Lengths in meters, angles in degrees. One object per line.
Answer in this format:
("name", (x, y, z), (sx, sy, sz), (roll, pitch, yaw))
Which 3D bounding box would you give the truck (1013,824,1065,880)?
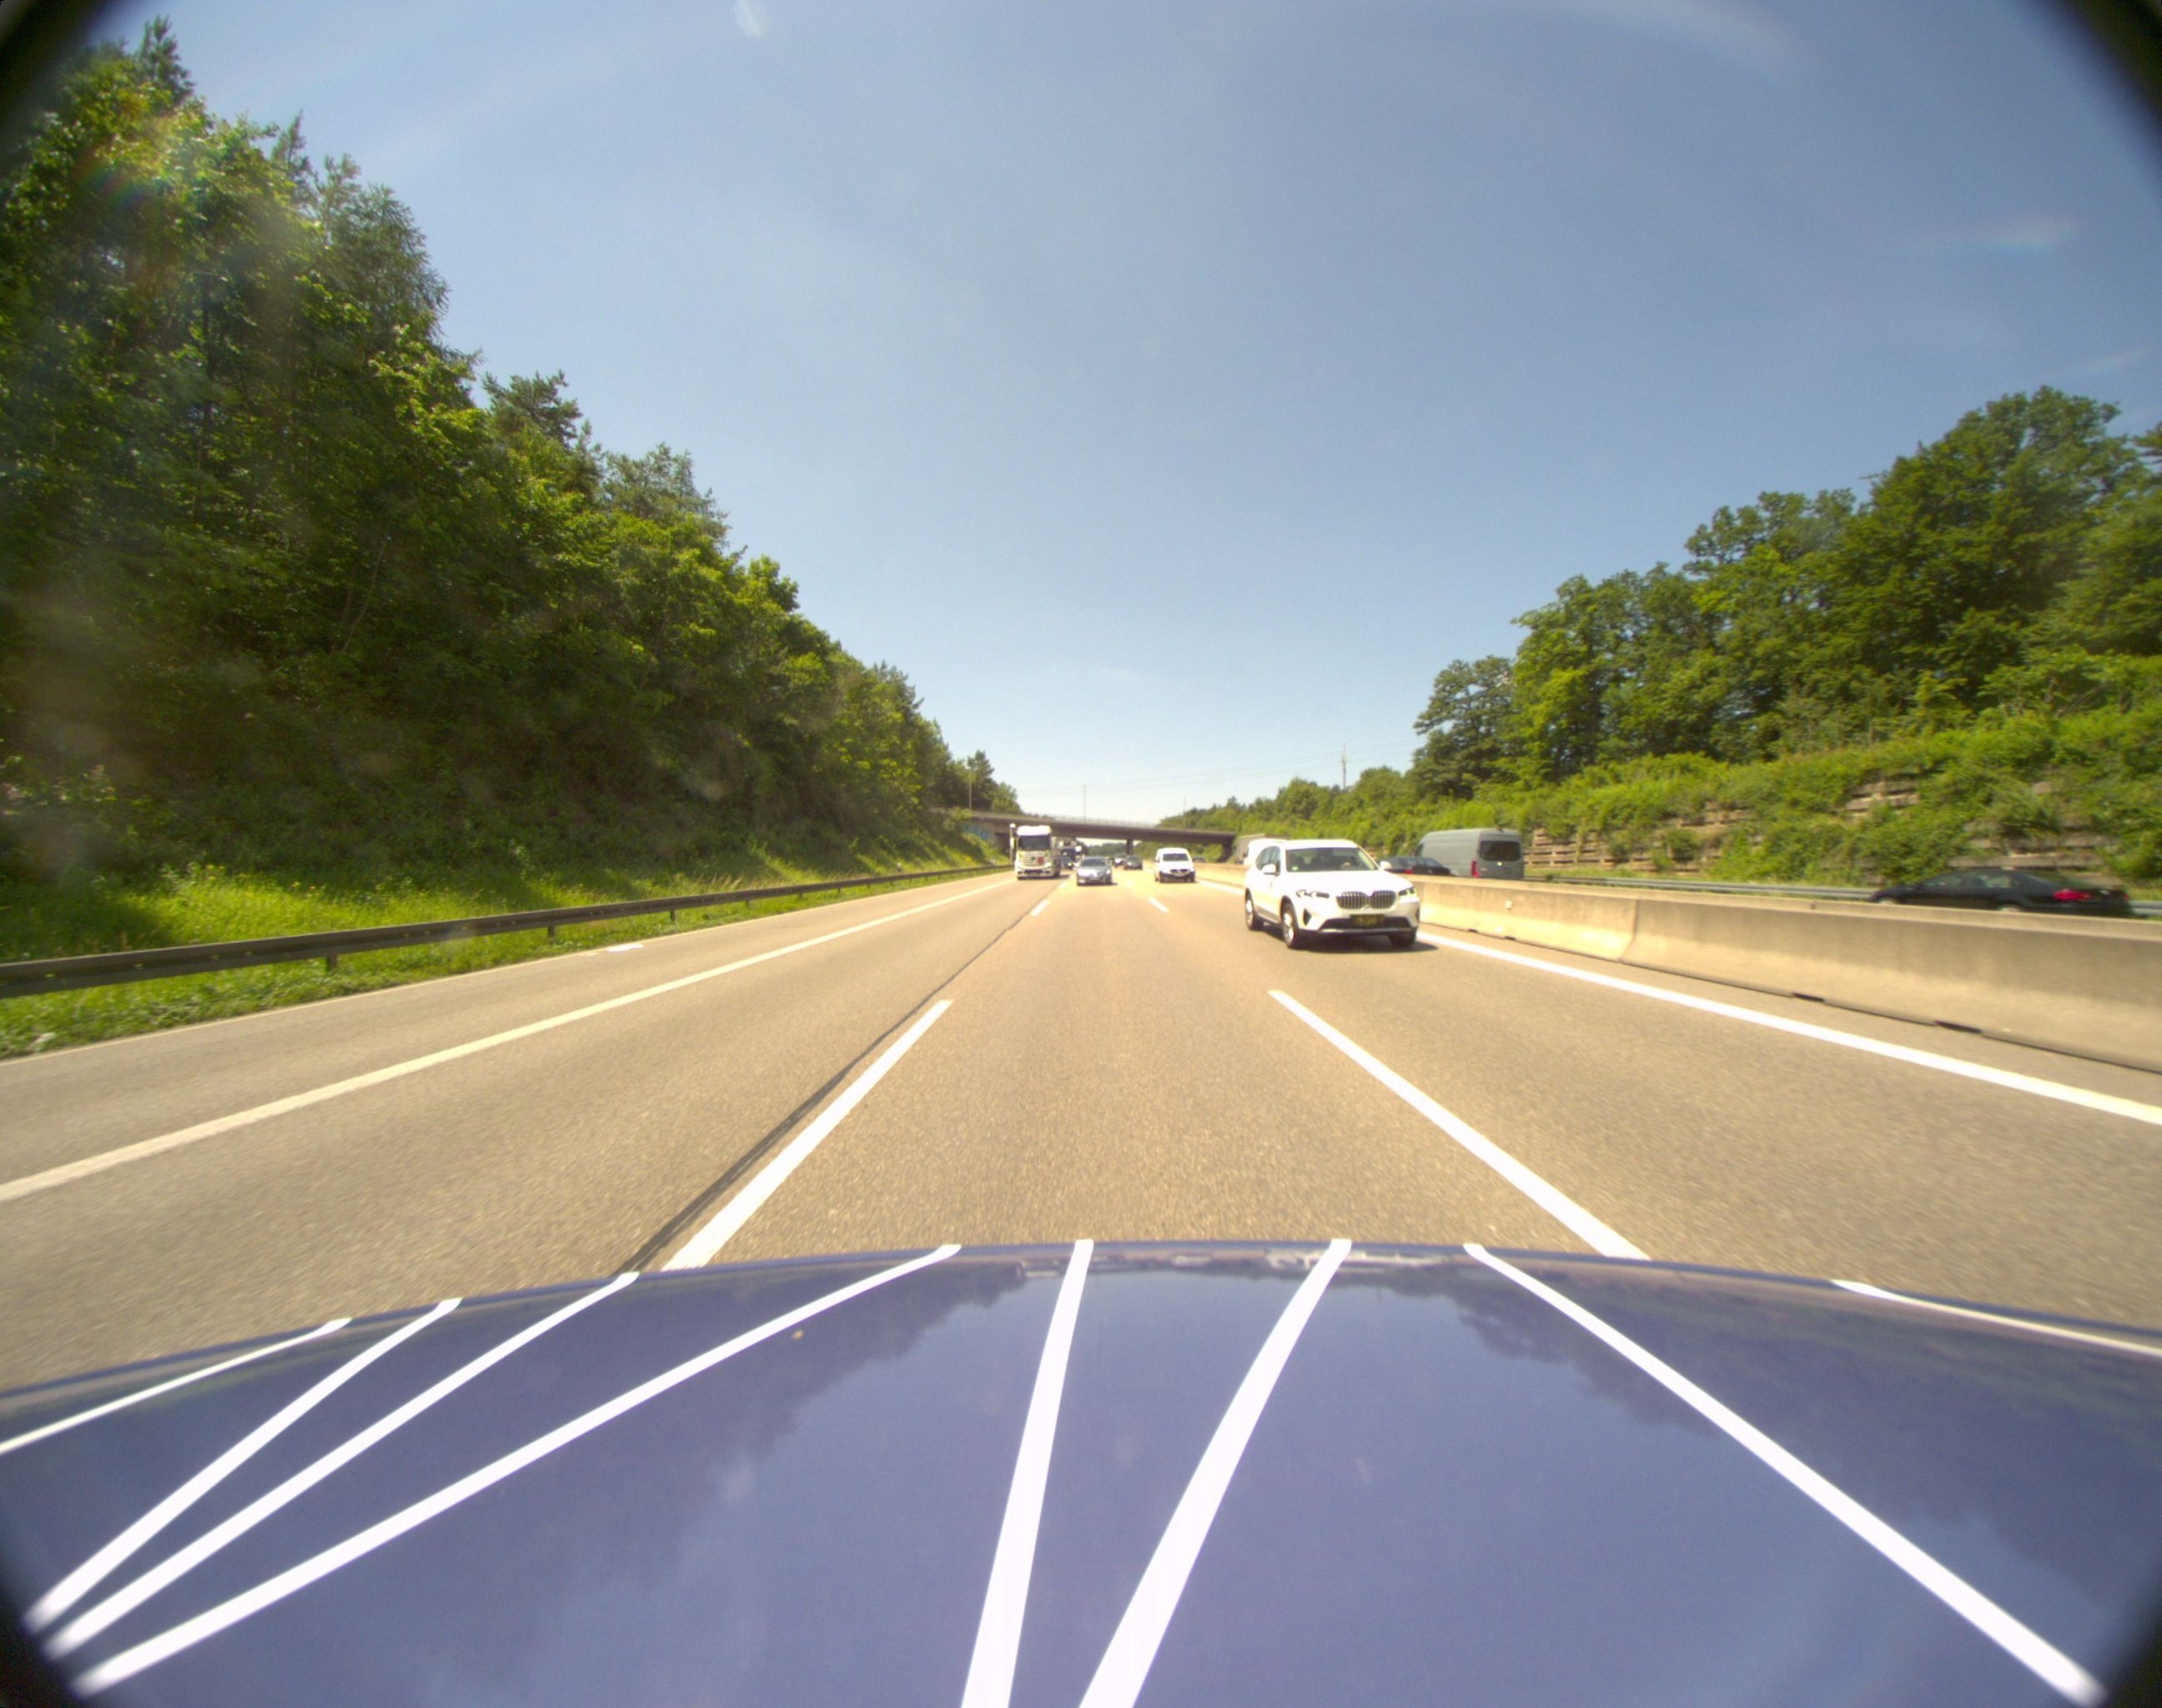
("truck", (-2.857, -0.228, 55.955), (2.844, 3.518, 13.085), (-2, 1, 1))

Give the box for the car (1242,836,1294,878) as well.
("car", (12.731, 0.188, 51.970), (2.245, 2.667, 5.341), (1, 0, 1))

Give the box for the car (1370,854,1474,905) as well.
("car", (11.837, 0.819, 26.676), (1.736, 1.595, 4.281), (1, 0, 1))

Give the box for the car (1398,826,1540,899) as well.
("car", (15.775, 0.280, 31.541), (2.245, 2.667, 7.137), (1, 0, 1))

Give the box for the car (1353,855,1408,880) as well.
("car", (19.598, 0.841, 49.901), (1.900, 1.529, 4.281), (1, 0, 1))

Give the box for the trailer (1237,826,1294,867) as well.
("trailer", (20.365, -0.848, 84.799), (2.942, 4.162, 14.183), (-2, 1, 1))

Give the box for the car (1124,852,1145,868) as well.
("car", (5.330, 0.563, 76.687), (1.770, 1.504, 4.725), (-2, 1, 1))

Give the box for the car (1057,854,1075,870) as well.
("car", (-1.556, 0.863, 81.900), (1.770, 1.504, 3.999), (-2, 1, 1))

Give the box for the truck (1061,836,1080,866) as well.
("truck", (-1.567, -0.540, 120.689), (2.627, 4.365, 13.085), (-2, 1, 1))

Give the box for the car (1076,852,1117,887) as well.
("car", (0.823, 0.725, 37.678), (1.843, 1.518, 4.501), (-2, 1, 2))

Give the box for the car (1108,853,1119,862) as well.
("car", (6.083, 0.626, 143.226), (1.770, 1.504, 3.999), (-2, 1, 1))

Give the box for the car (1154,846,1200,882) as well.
("car", (5.025, 0.477, 40.398), (1.998, 1.764, 4.501), (-2, 1, 2))

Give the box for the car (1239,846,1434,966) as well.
("car", (4.032, 0.720, 12.823), (1.850, 1.634, 4.368), (-1, 0, 1))

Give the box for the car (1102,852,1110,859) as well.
("car", (6.517, 0.337, 195.075), (1.944, 1.616, 4.281), (1, 0, 1))

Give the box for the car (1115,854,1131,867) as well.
("car", (5.270, 0.763, 94.992), (1.770, 1.504, 3.999), (-2, 1, 1))

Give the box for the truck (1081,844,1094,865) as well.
("truck", (1.406, 0.063, 172.312), (2.627, 4.365, 13.085), (-2, 1, 1))

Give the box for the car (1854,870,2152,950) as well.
("car", (22.397, 1.267, 18.814), (1.944, 1.595, 4.464), (1, 0, 1))

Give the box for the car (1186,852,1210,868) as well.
("car", (12.541, 0.642, 81.575), (1.944, 1.690, 4.281), (1, 0, 1))

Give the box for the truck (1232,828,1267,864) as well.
("truck", (20.441, -0.937, 92.466), (2.942, 4.162, 5.948), (-2, 1, 1))
